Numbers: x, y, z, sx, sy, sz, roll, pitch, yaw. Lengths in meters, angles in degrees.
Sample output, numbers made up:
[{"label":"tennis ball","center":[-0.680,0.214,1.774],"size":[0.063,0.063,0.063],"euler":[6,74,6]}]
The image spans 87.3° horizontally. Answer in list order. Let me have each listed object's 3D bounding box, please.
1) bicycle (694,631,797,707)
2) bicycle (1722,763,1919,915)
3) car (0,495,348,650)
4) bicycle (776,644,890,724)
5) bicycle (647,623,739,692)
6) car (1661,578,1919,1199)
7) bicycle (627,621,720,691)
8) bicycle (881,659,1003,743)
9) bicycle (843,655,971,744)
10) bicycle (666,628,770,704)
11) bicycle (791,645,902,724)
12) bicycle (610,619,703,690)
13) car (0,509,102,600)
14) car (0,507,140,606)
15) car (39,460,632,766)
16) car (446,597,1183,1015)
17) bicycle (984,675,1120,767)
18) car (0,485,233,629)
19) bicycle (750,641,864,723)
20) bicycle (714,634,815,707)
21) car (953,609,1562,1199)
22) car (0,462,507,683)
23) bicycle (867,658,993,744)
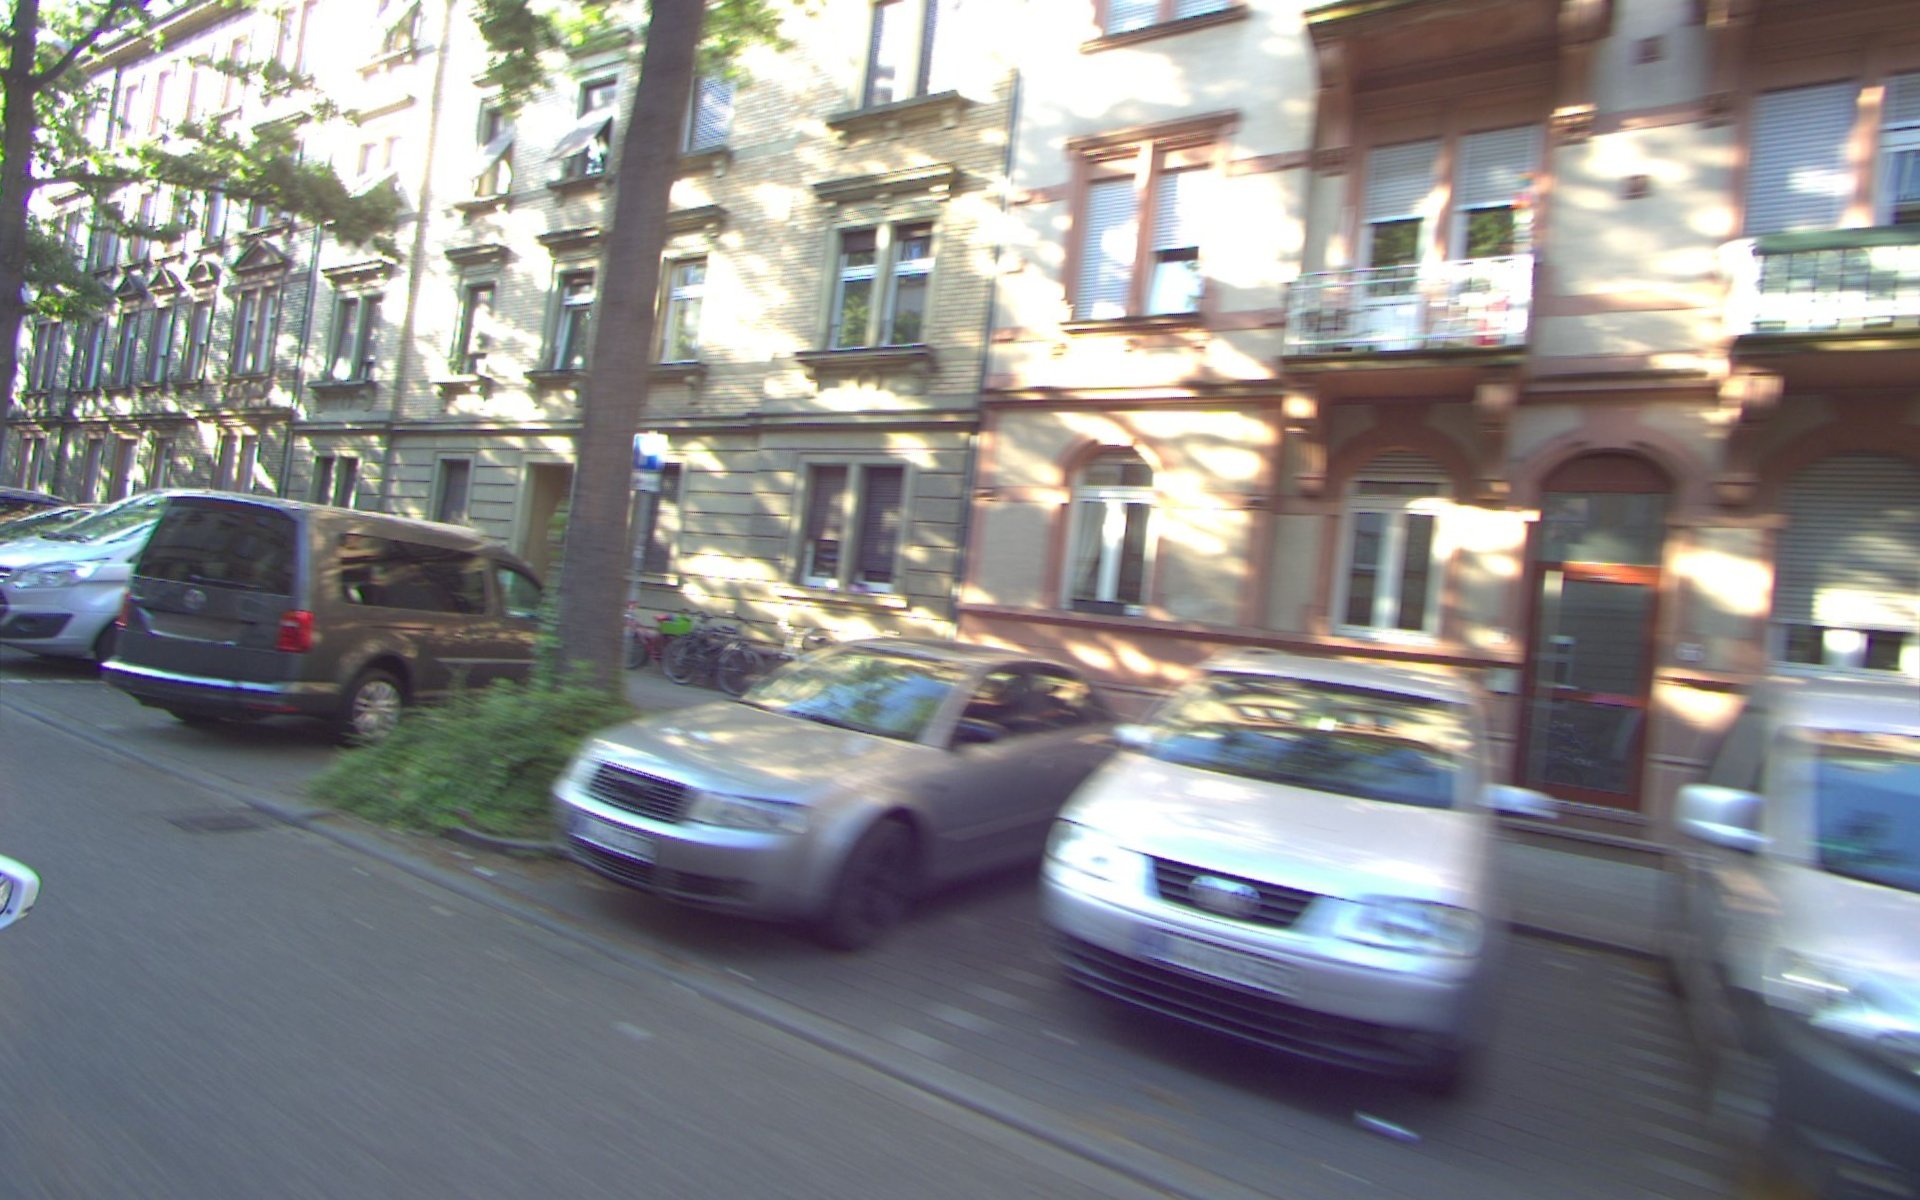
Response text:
[{"label":"bicycle","center":[-3.076,0.975,14.373],"size":[1.554,0.865,0.343],"euler":[6,-2,32]},{"label":"bicycle","center":[7.473,1.974,8.115],"size":[1.991,0.972,0.469],"euler":[6,-3,31]},{"label":"car","center":[-10.843,-0.347,12.653],"size":[2.042,1.652,4.929],"euler":[6,0,28]},{"label":"bicycle","center":[-1.719,1.121,13.522],"size":[1.554,0.865,0.343],"euler":[6,-2,32]},{"label":"bicycle","center":[-4.158,0.884,15.603],"size":[1.554,0.865,0.307],"euler":[6,-2,32]},{"label":"car","center":[4.109,1.236,3.989],"size":[1.753,1.906,4.243],"euler":[6,-4,32]},{"label":"bicycle","center":[-4.382,0.843,15.354],"size":[1.554,0.865,0.307],"euler":[6,-2,32]},{"label":"bicycle","center":[-0.247,1.299,13.077],"size":[1.554,0.865,0.362],"euler":[6,-2,32]},{"label":"bicycle","center":[-0.672,1.213,12.410],"size":[1.554,0.865,0.362],"euler":[6,-2,32]},{"label":"bicycle","center":[-3.419,0.921,14.179],"size":[1.554,0.865,0.343],"euler":[6,-2,32]},{"label":"bicycle","center":[-1.578,1.157,13.908],"size":[1.554,0.865,0.343],"euler":[6,-2,32]},{"label":"bicycle","center":[-4.562,0.806,15.077],"size":[1.554,0.865,0.307],"euler":[6,-2,32]},{"label":"car","center":[-18.510,-1.039,18.279],"size":[1.658,1.511,3.999],"euler":[6,-3,28]},{"label":"car","center":[-16.609,-0.879,16.700],"size":[1.904,1.472,4.152],"euler":[6,-1,30]},{"label":"car","center":[-5.163,0.173,9.336],"size":[1.871,1.912,4.683],"euler":[7,-1,10]},{"label":"car","center":[-0.384,0.938,6.106],"size":[1.872,1.384,4.463],"euler":[6,-1,32]},{"label":"bicycle","center":[1.100,1.441,12.171],"size":[1.554,0.865,0.362],"euler":[6,-2,32]},{"label":"car","center":[-14.197,-0.732,15.650],"size":[1.913,1.808,4.133],"euler":[6,-3,33]},{"label":"bicycle","center":[-2.033,1.068,13.276],"size":[1.554,0.865,0.343],"euler":[6,-2,32]},{"label":"bicycle","center":[-2.863,1.017,14.667],"size":[1.554,0.865,0.307],"euler":[6,-2,32]},{"label":"car","center":[1.869,1.086,5.296],"size":[1.870,1.623,4.240],"euler":[6,-1,28]},{"label":"car","center":[-8.097,-0.191,11.497],"size":[2.138,1.925,4.929],"euler":[6,0,28]},{"label":"bicycle","center":[-0.394,1.264,12.713],"size":[1.554,0.865,0.362],"euler":[6,-2,32]}]
